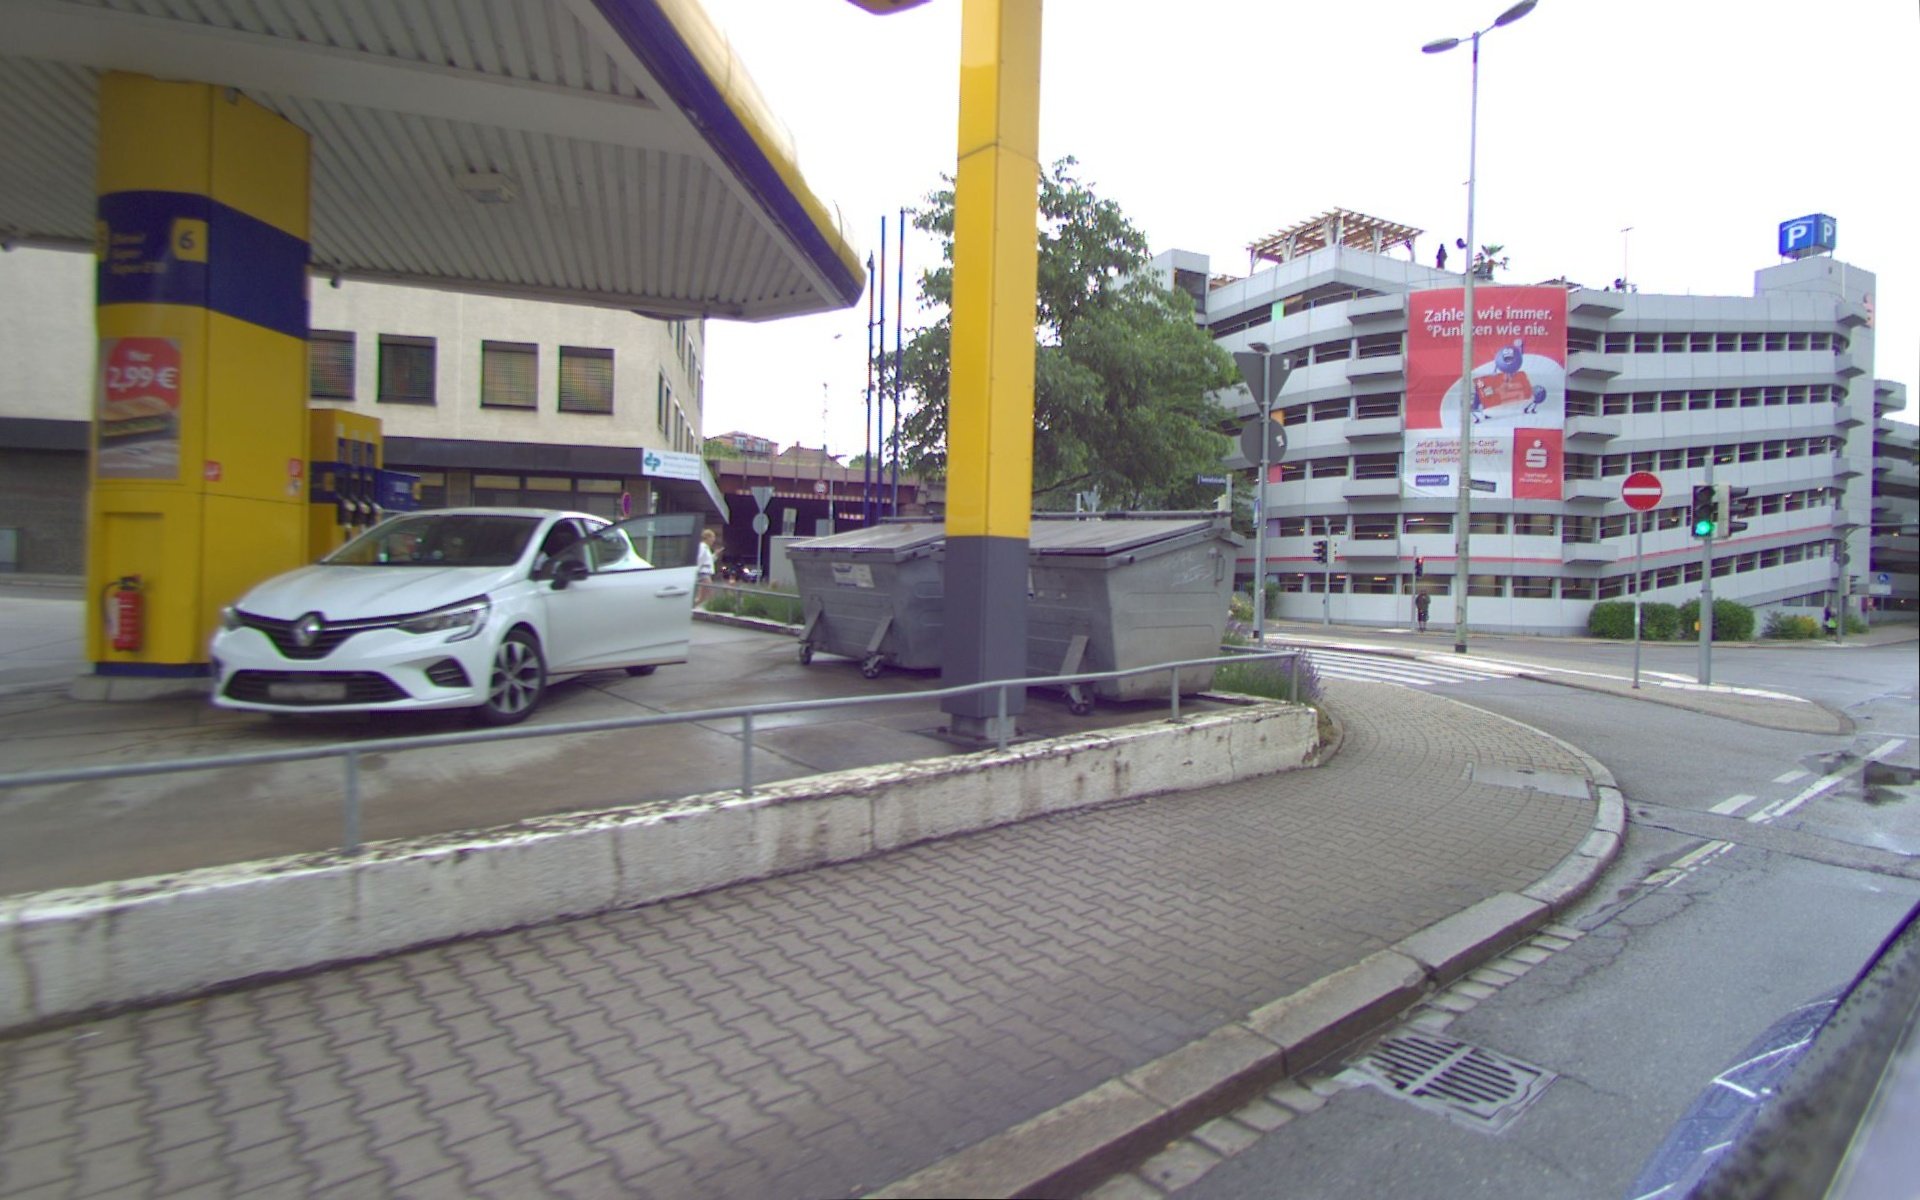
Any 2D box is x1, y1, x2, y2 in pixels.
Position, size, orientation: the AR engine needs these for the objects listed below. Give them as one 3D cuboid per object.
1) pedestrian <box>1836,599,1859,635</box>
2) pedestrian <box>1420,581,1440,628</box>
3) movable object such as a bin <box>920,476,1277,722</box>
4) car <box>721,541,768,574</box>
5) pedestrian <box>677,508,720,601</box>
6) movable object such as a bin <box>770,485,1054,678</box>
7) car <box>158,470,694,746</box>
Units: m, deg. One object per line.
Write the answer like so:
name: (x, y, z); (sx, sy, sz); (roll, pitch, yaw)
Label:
pedestrian: (42.793, 0.818, 48.797); (0.508, 1.679, 0.586); (0, 3, -23)
pedestrian: (19.829, 0.177, 42.722); (0.536, 1.913, 0.506); (4, 2, 10)
movable object such as a bin: (1.039, -0.044, 7.953); (1.741, 1.594, 2.161); (0, 2, -40)
car: (-12.943, -2.506, 60.579); (1.958, 1.805, 4.171); (0, 0, -24)
pedestrian: (-4.405, -0.750, 17.068); (0.565, 1.534, 0.478); (0, -1, 9)
movable object such as a bin: (-0.502, -0.204, 9.657); (1.741, 1.574, 2.161); (0, 3, -40)
car: (-3.459, -0.063, 7.520); (1.714, 1.459, 3.999); (2, 3, 3)
